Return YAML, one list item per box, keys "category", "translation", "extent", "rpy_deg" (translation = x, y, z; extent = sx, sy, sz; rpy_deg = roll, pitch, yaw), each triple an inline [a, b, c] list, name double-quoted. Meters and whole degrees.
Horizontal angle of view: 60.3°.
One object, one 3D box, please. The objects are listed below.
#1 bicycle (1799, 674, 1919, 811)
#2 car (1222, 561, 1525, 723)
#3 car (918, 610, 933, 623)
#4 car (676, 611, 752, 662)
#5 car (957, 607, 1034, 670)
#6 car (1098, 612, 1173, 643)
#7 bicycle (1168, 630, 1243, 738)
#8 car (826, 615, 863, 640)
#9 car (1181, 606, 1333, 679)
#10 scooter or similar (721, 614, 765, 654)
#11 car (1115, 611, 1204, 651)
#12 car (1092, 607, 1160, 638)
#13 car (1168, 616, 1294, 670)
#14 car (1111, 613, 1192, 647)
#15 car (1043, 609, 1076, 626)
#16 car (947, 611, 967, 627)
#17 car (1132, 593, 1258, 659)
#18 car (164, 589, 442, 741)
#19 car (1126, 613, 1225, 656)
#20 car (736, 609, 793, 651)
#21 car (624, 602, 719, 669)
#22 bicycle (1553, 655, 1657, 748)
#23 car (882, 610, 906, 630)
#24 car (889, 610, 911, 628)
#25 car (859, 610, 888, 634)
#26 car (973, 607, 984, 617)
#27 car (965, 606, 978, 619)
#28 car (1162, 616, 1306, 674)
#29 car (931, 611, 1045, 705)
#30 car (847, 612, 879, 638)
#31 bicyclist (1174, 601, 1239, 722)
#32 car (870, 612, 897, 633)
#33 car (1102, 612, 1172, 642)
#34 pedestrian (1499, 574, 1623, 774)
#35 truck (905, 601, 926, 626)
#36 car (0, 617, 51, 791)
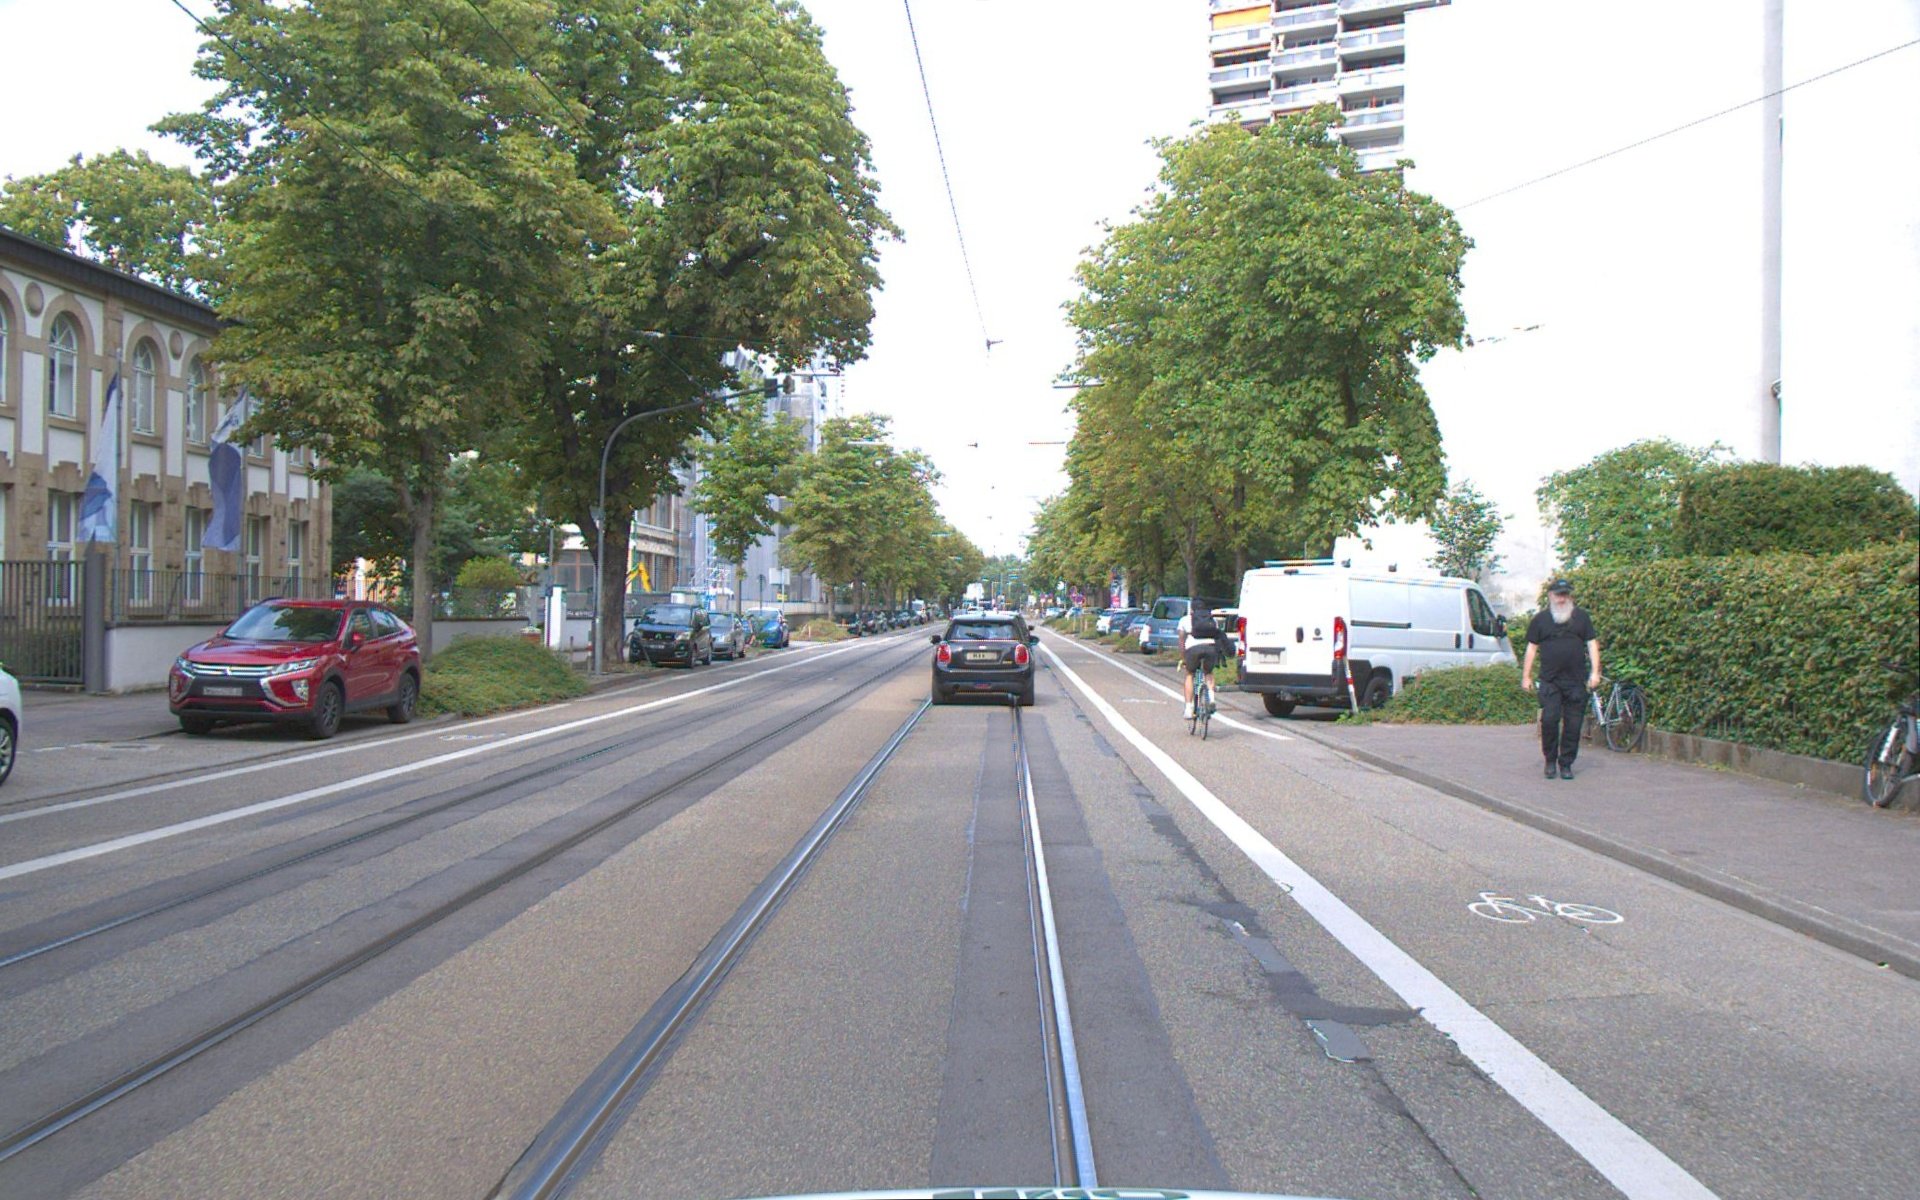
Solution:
- category: "bicycle"
  translation: [6.943, 1.052, 12.610]
  extent: [0.378, 0.923, 1.666]
  rpy_deg: [-1, -1, 6]
- category: "car"
  translation: [6.640, 0.647, 26.277]
  extent: [4.916, 2.330, 2.348]
  rpy_deg: [2, -1, -42]
- category: "car"
  translation: [-4.212, 1.987, 201.722]
  extent: [1.765, 1.611, 4.031]
  rpy_deg: [-1, -1, 1]
- category: "car"
  translation: [-7.486, 1.093, 50.604]
  extent: [1.658, 1.452, 3.868]
  rpy_deg: [1, 0, 1]
- category: "car"
  translation: [0.872, 0.970, 43.089]
  extent: [1.757, 1.496, 3.998]
  rpy_deg: [2, 0, -2]
- category: "car"
  translation: [8.500, 1.343, 80.093]
  extent: [3.498, 1.468, 1.602]
  rpy_deg: [1, -1, -38]
- category: "bicycle"
  translation: [3.149, 1.052, 21.374]
  extent: [0.644, 1.271, 2.125]
  rpy_deg: [1, 0, 0]
- category: "car"
  translation: [-6.717, 1.571, 96.421]
  extent: [1.765, 1.398, 4.031]
  rpy_deg: [-1, -1, 1]
- category: "car"
  translation: [7.372, 1.040, 40.808]
  extent: [4.077, 1.697, 1.662]
  rpy_deg: [2, -1, -45]
- category: "scooter or similar"
  translation: [-7.667, 1.203, 58.496]
  extent: [1.413, 1.367, 0.700]
  rpy_deg: [-1, -1, 3]
- category: "car"
  translation: [8.062, 1.248, 66.612]
  extent: [3.710, 1.549, 1.614]
  rpy_deg: [2, -1, -44]
- category: "car"
  translation: [8.655, 1.185, 86.123]
  extent: [3.411, 1.600, 1.539]
  rpy_deg: [1, -1, -38]
- category: "car"
  translation: [7.715, 1.211, 46.964]
  extent: [3.687, 1.458, 1.662]
  rpy_deg: [2, -1, -44]
- category: "car"
  translation: [8.506, 1.342, 73.386]
  extent: [3.710, 1.484, 1.614]
  rpy_deg: [2, -1, -44]
- category: "car"
  translation: [12.559, 2.217, 209.119]
  extent: [3.906, 1.944, 1.999]
  rpy_deg: [1, 0, -2]
- category: "car"
  translation: [-0.280, 1.870, 161.929]
  extent: [1.797, 1.473, 4.553]
  rpy_deg: [1, 0, 1]
- category: "car"
  translation: [7.607, 0.858, 53.352]
  extent: [4.243, 2.050, 1.802]
  rpy_deg: [2, -1, -44]
- category: "car"
  translation: [-8.333, 0.774, 21.450]
  extent: [1.686, 1.684, 4.542]
  rpy_deg: [3, 0, 0]
- category: "car"
  translation: [7.805, 1.248, 59.812]
  extent: [1.613, 1.485, 3.802]
  rpy_deg: [0, -1, 44]
- category: "car"
  translation: [-7.375, 1.111, 62.610]
  extent: [1.658, 1.513, 3.677]
  rpy_deg: [1, 0, 1]
- category: "car"
  translation: [-7.640, 0.918, 44.135]
  extent: [1.720, 1.676, 4.052]
  rpy_deg: [1, 0, 1]
- category: "bicycle"
  translation: [6.944, 1.070, 17.880]
  extent: [0.378, 0.923, 1.841]
  rpy_deg: [-1, -1, 0]
- category: "car"
  translation: [-5.473, 1.635, 136.731]
  extent: [1.765, 1.611, 4.031]
  rpy_deg: [-1, -1, 1]
- category: "car"
  translation: [-5.284, 1.682, 145.855]
  extent: [1.765, 1.611, 4.031]
  rpy_deg: [-1, -1, 1]
- category: "car"
  translation: [-6.023, 1.557, 115.929]
  extent: [1.765, 1.611, 4.031]
  rpy_deg: [-1, -1, 1]
- category: "car"
  translation: [2.953, 1.907, 260.147]
  extent: [1.765, 1.650, 4.484]
  rpy_deg: [-1, -1, 1]
- category: "car"
  translation: [1.708, 1.783, 240.984]
  extent: [1.765, 1.855, 4.484]
  rpy_deg: [-1, -1, 1]
- category: "car"
  translation: [7.266, 1.188, 43.662]
  extent: [3.940, 1.458, 1.664]
  rpy_deg: [2, -1, -42]
- category: "car"
  translation: [0.410, 0.925, 28.030]
  extent: [1.757, 1.448, 3.999]
  rpy_deg: [1, 0, -1]
- category: "car"
  translation: [-6.290, 1.593, 107.060]
  extent: [1.765, 1.611, 4.031]
  rpy_deg: [-1, -1, 1]
- category: "bicyclist"
  translation: [3.161, 0.773, 21.286]
  extent: [0.644, 1.489, 1.178]
  rpy_deg: [1, 0, 0]
- category: "car"
  translation: [-5.845, 1.709, 126.662]
  extent: [1.765, 1.611, 4.031]
  rpy_deg: [-1, -1, 1]
- category: "car"
  translation: [8.942, 1.361, 83.317]
  extent: [3.411, 1.468, 1.539]
  rpy_deg: [1, -1, -38]
- category: "pedestrian"
  translation: [5.523, 0.664, 15.235]
  extent: [0.769, 1.763, 0.896]
  rpy_deg: [-2, 0, 1]
- category: "truck"
  translation: [-4.559, 1.370, 170.362]
  extent: [2.028, 2.513, 4.899]
  rpy_deg: [-1, -1, 1]
- category: "car"
  translation: [-8.918, 0.837, 12.592]
  extent: [1.686, 1.448, 4.023]
  rpy_deg: [3, 0, 0]
